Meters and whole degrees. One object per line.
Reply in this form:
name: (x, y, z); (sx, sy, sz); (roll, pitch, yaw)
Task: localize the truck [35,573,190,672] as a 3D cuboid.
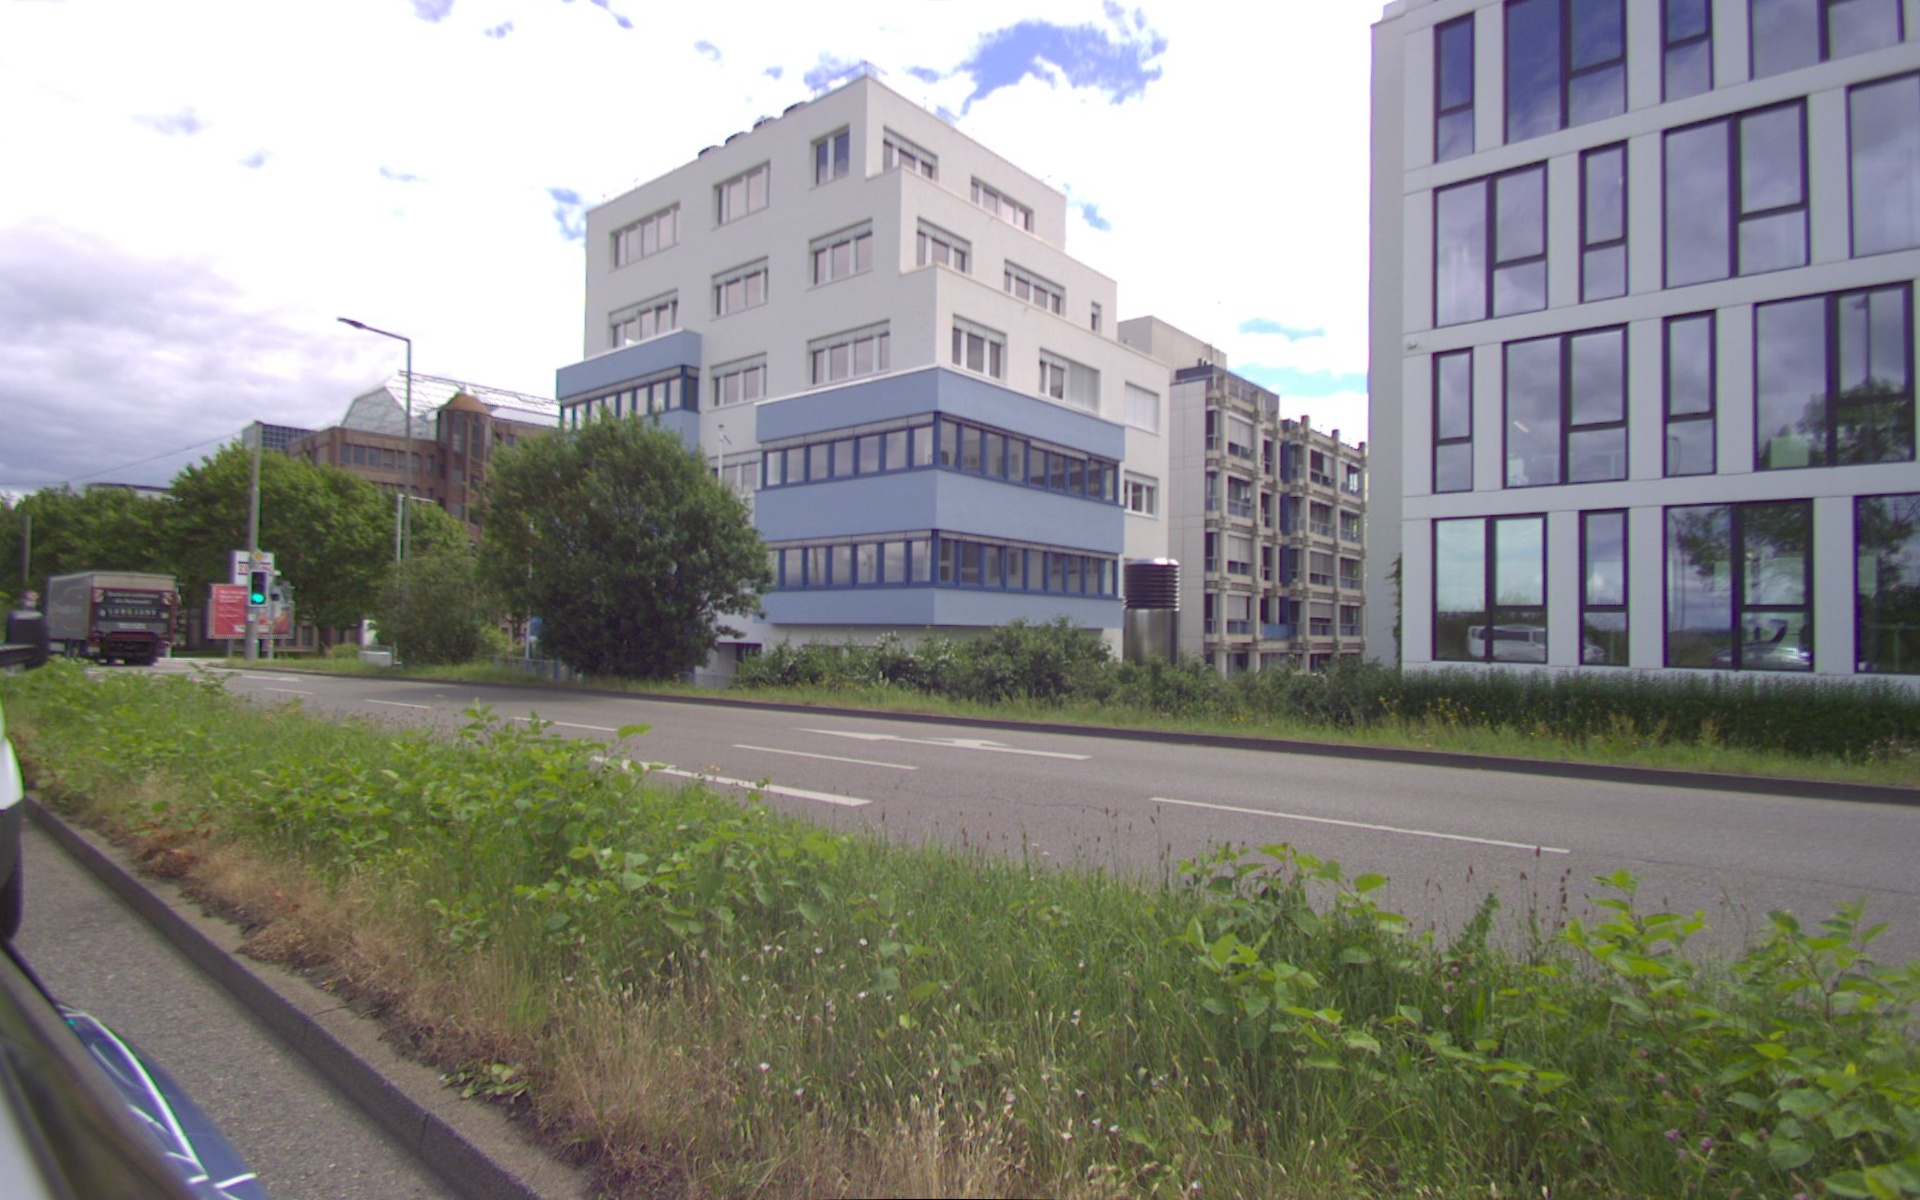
truck: (-34.162, 0.900, 40.617); (9.519, 3.545, 3.135); (-1, -3, 40)

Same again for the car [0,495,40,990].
car: (-6.268, 0.608, 5.042); (5.052, 1.965, 1.942); (-2, -1, 41)
